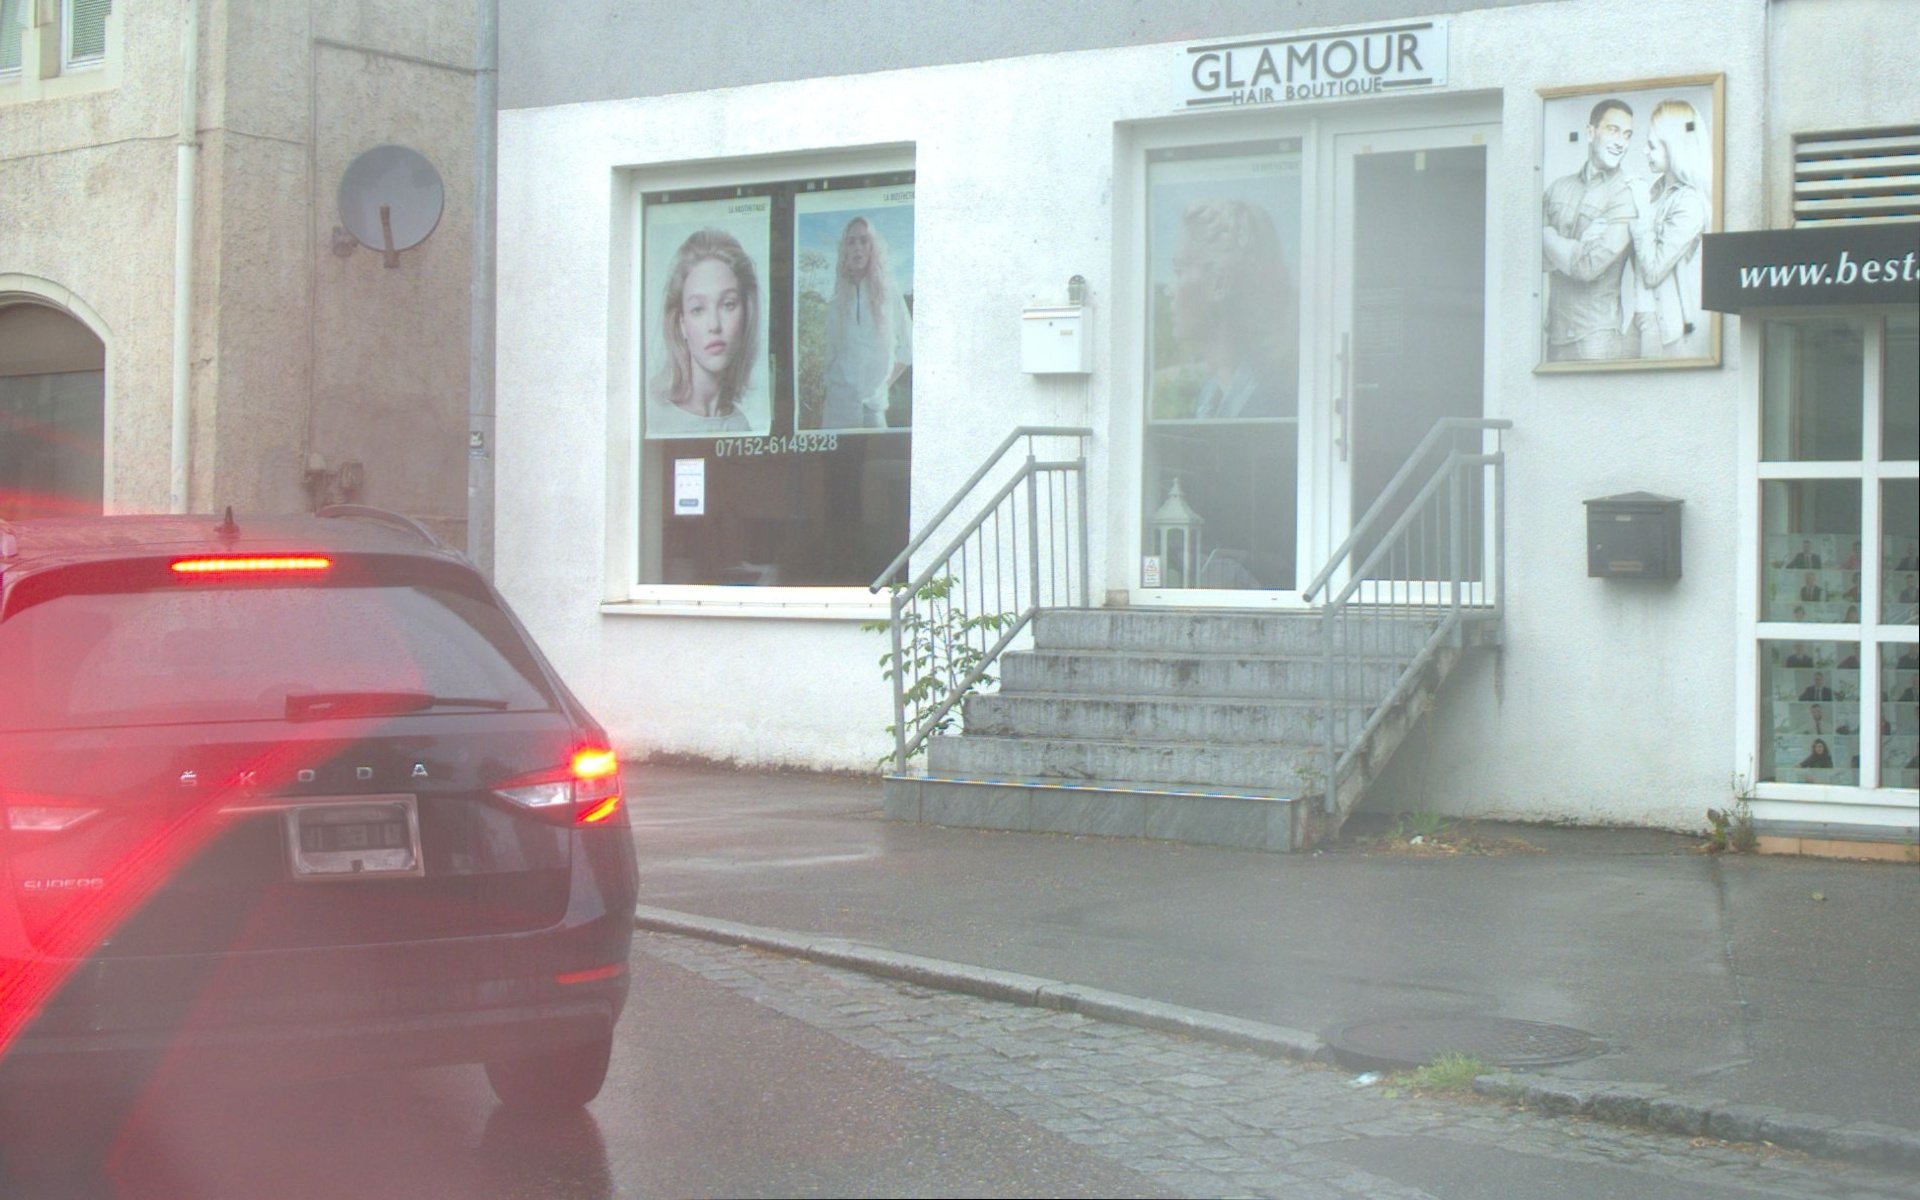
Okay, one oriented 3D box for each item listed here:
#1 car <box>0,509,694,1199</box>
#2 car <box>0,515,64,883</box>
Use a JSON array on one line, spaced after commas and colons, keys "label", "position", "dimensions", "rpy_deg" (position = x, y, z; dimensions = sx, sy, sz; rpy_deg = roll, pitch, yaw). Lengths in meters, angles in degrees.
[{"label": "car", "position": [-2.230, 0.496, 9.059], "dimensions": [1.886, 1.443, 4.358], "rpy_deg": [0, 1, -21]}, {"label": "car", "position": [-5.534, 0.366, 14.952], "dimensions": [1.857, 1.468, 3.999], "rpy_deg": [-1, 1, -36]}]
